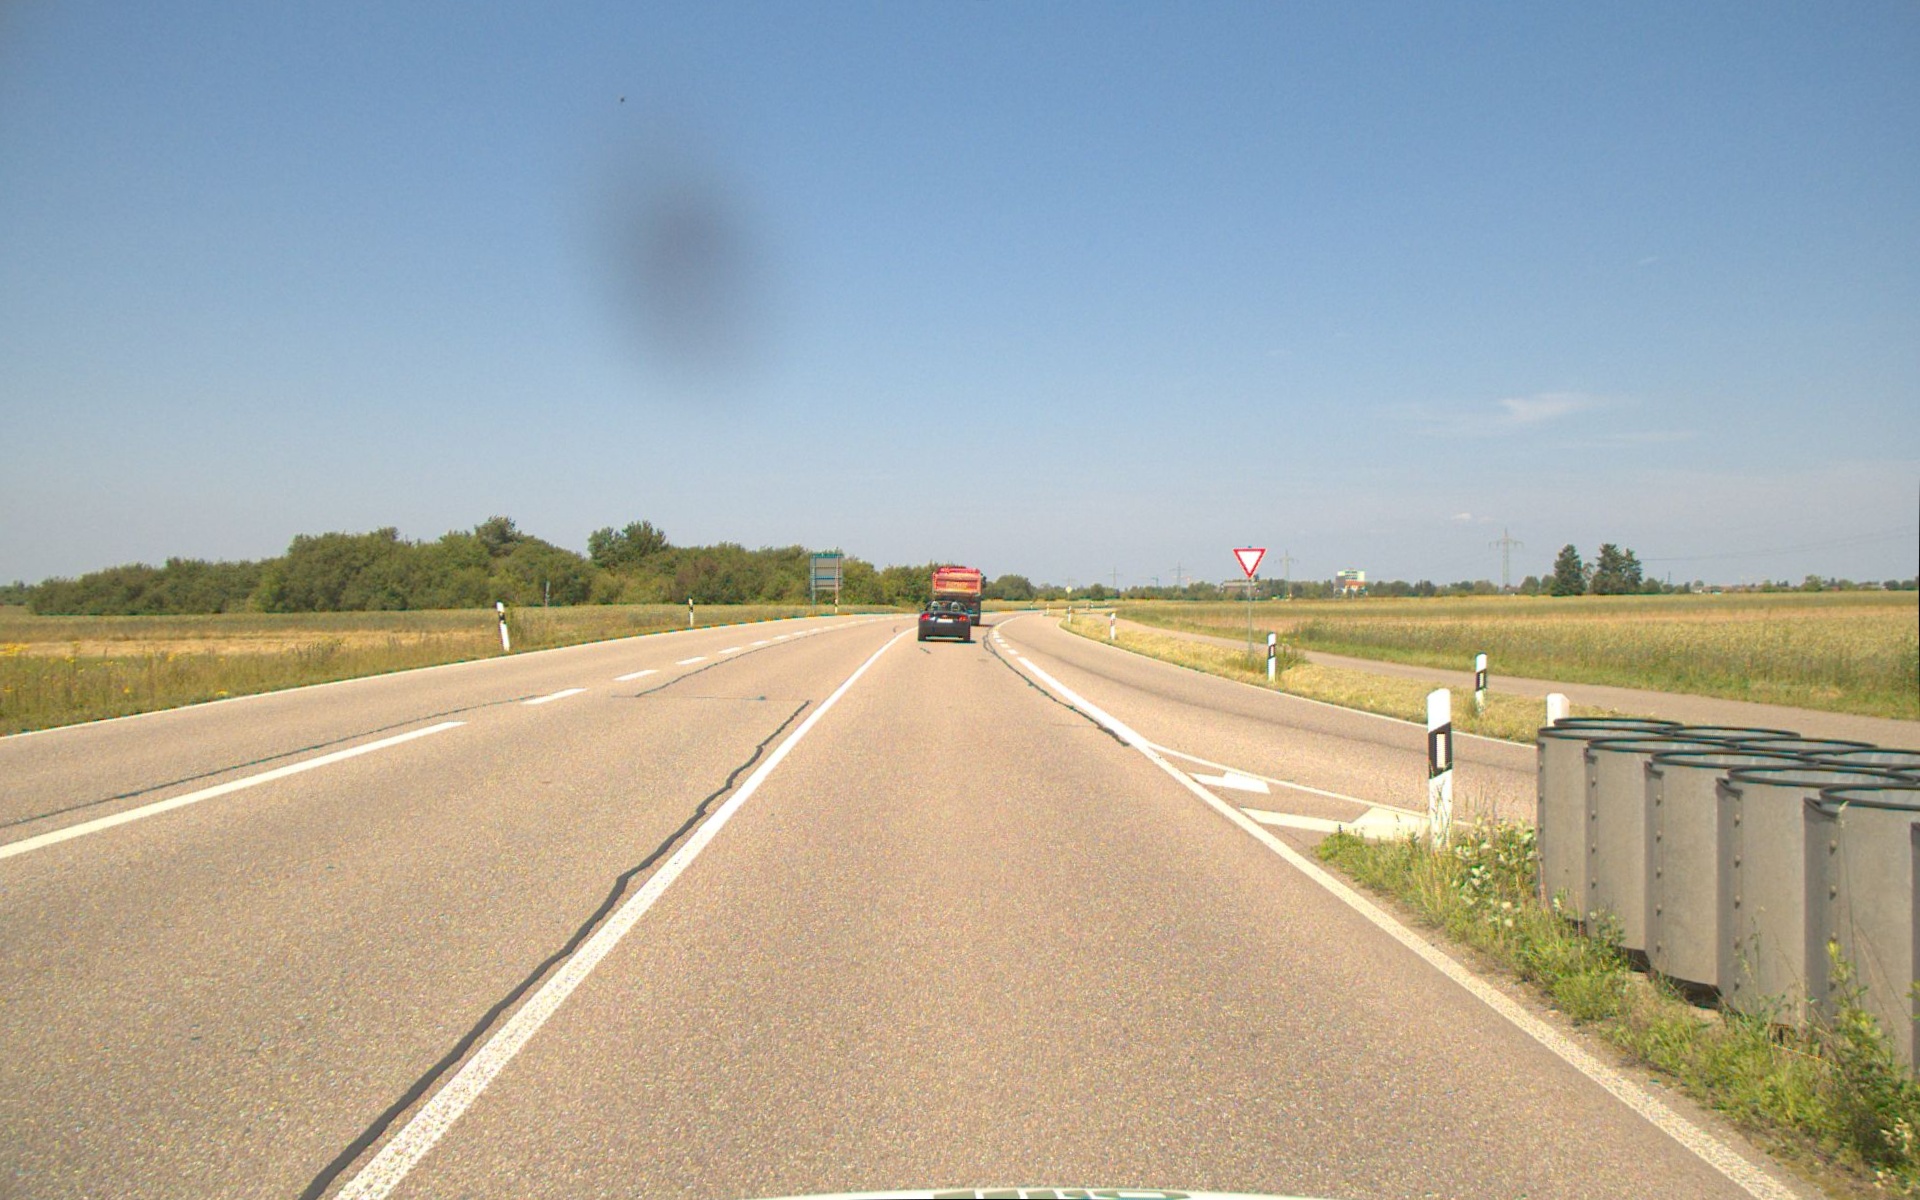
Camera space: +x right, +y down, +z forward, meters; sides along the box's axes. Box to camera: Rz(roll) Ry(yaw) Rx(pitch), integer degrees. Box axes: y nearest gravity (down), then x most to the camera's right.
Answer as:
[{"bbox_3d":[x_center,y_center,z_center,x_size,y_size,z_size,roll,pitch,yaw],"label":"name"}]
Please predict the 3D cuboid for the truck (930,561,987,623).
[{"bbox_3d":[-0.151,-0.410,88.586,2.878,3.143,7.194,1,0,-1],"label":"truck"}]

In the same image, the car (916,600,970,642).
[{"bbox_3d":[-0.537,0.672,54.668,1.708,1.302,4.000,1,0,0],"label":"car"}]
